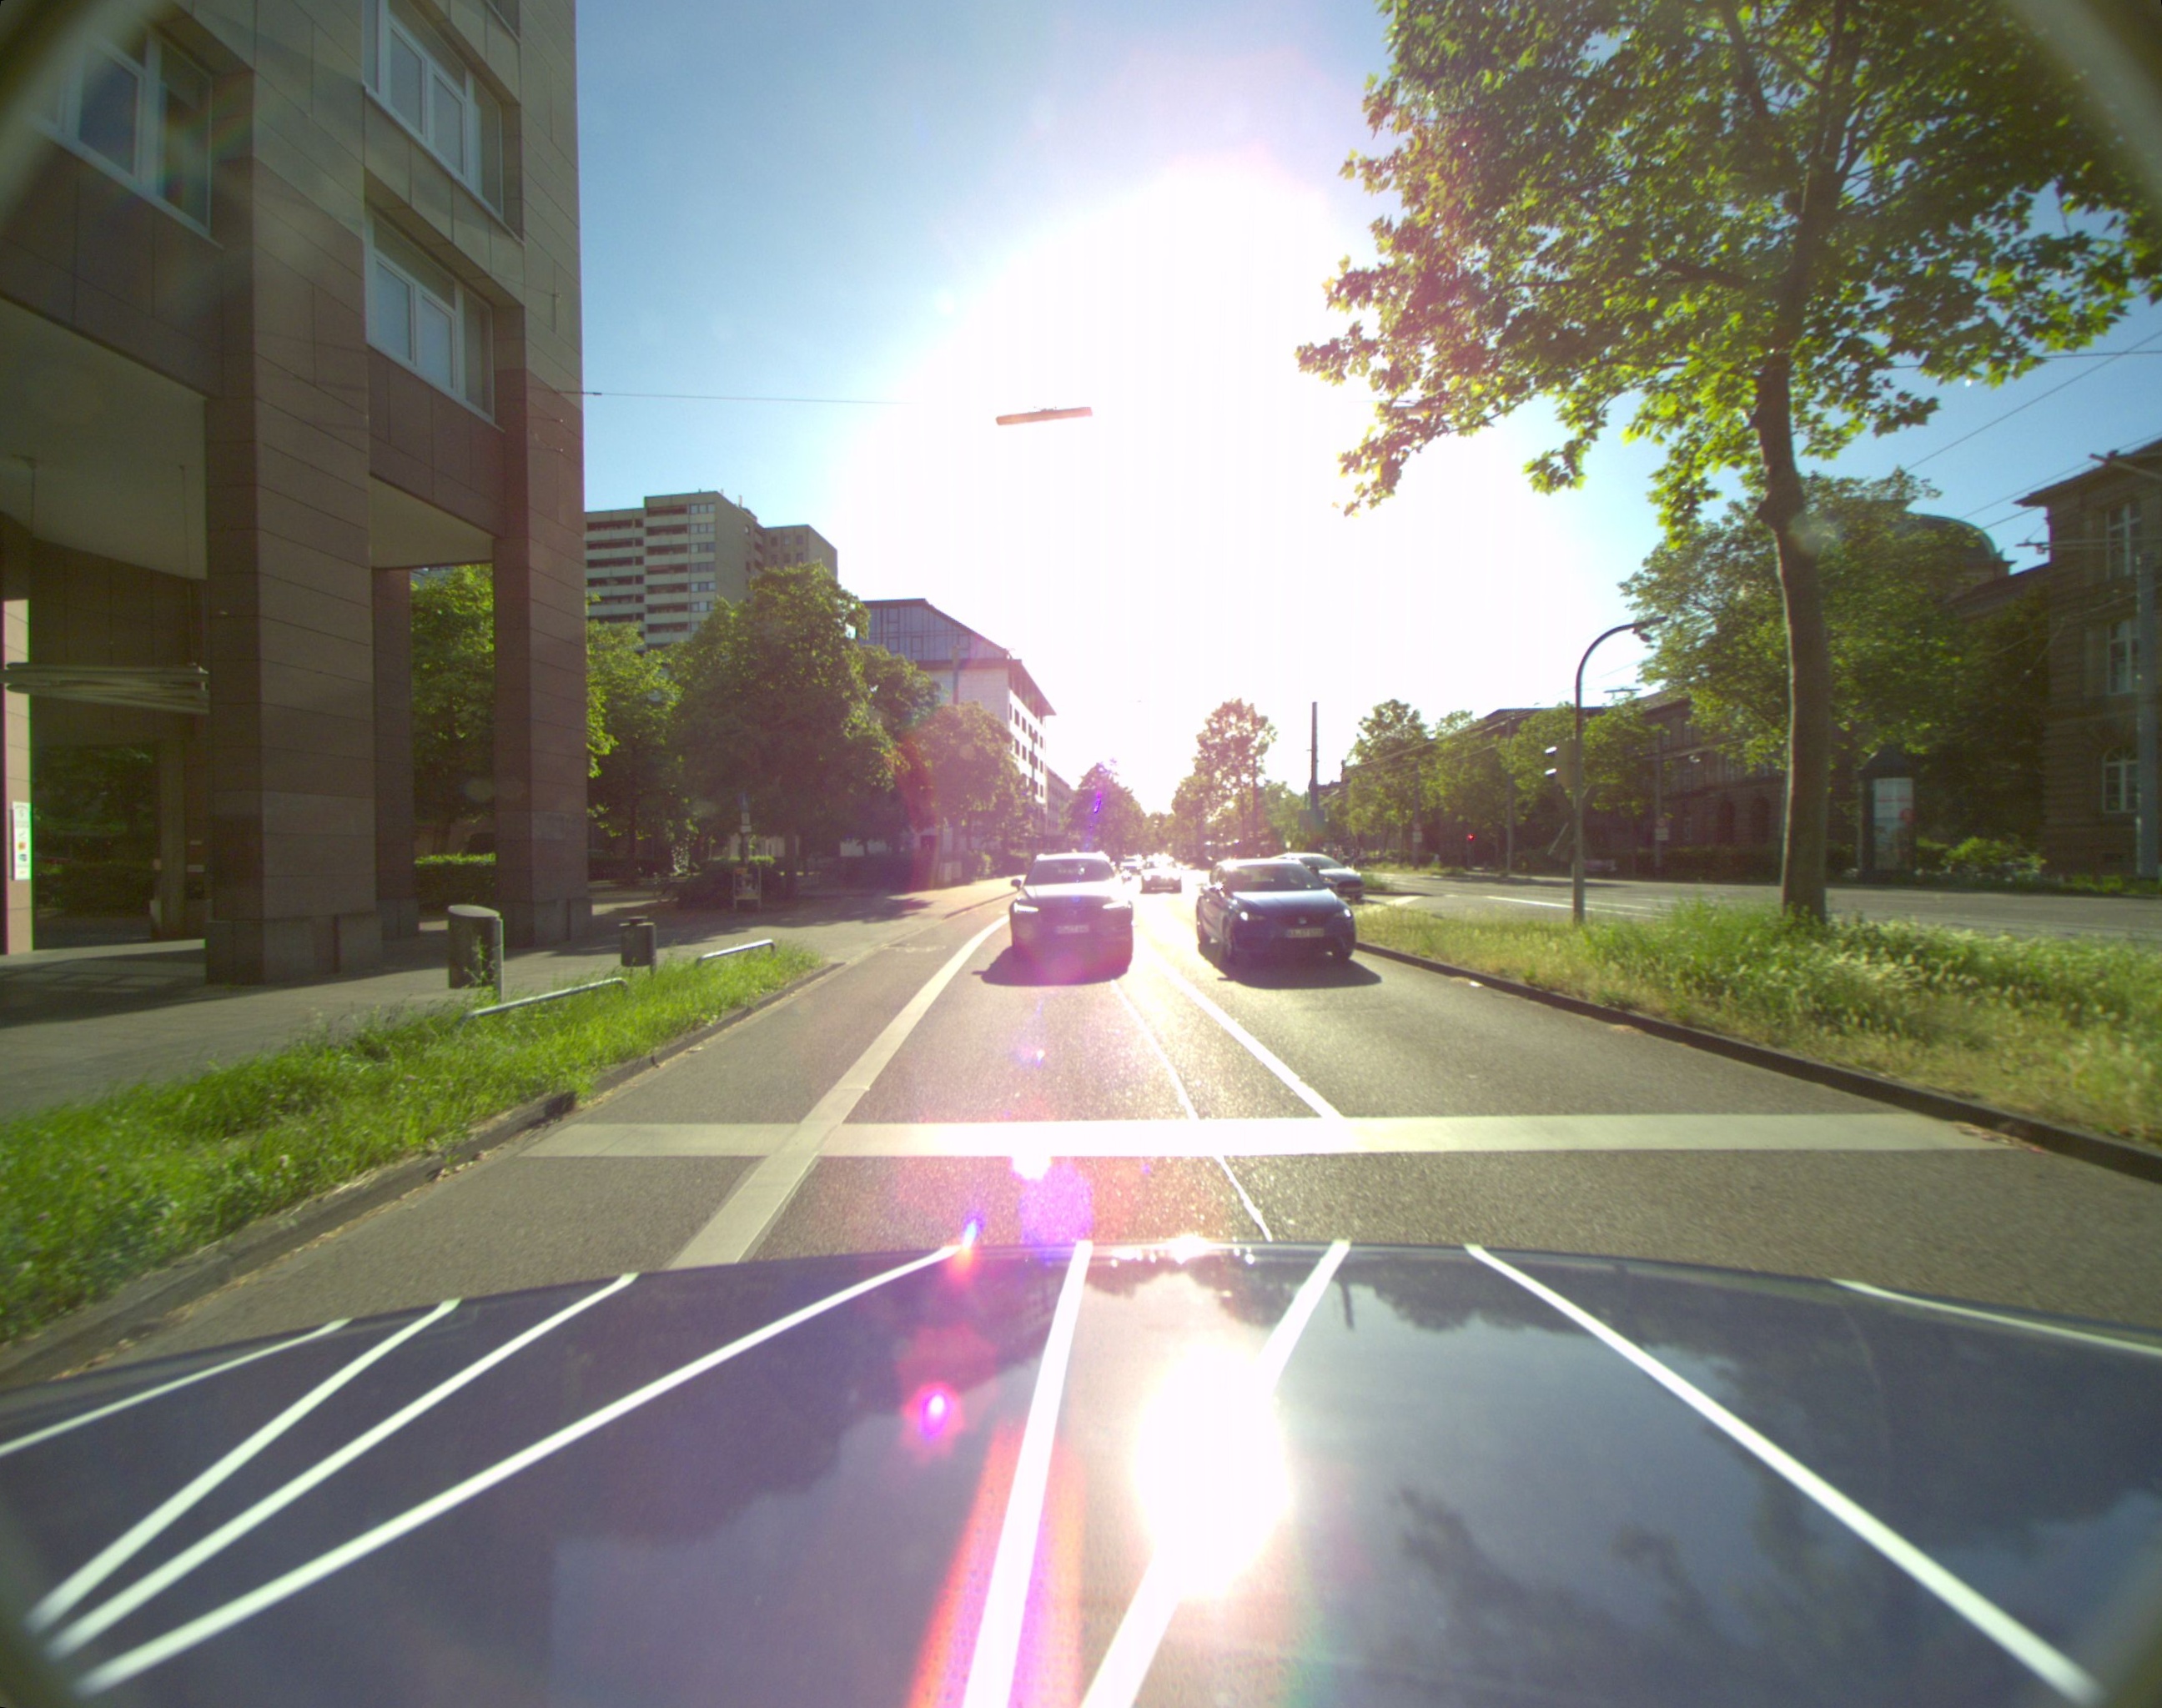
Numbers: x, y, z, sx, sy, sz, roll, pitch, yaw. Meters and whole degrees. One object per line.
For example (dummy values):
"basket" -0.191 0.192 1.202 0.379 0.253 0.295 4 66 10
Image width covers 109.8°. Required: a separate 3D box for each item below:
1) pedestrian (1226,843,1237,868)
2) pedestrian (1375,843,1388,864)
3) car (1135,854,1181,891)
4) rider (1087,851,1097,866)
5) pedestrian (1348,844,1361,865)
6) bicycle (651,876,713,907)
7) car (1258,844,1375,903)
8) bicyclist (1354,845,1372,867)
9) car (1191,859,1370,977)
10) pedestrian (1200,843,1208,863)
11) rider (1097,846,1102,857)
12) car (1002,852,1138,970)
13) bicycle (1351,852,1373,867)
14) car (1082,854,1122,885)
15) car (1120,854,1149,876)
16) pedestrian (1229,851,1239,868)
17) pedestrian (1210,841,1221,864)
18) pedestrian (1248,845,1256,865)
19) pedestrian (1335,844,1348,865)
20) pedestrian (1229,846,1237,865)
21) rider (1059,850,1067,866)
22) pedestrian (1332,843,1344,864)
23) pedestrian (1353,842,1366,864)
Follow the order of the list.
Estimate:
"pedestrian" 11.406 0.110 57.512 0.646 1.796 0.504 -3 1 -4
"pedestrian" 23.619 -0.055 59.686 0.595 1.612 0.698 -3 1 -27
"car" 3.338 0.750 32.941 1.798 1.420 4.001 -3 0 5
"rider" 1.203 0.472 84.400 0.924 1.668 0.978 -3 1 6
"pedestrian" 21.920 0.036 60.826 0.595 1.634 0.698 -3 1 -30
"bicycle" -12.485 1.164 23.811 1.679 0.857 0.320 -2 1 -23
"car" 7.190 0.560 23.643 1.668 1.586 3.858 -3 0 -14
"bicyclist" 21.699 0.132 58.426 0.970 1.634 0.834 -3 1 -27
"car" 2.881 0.846 11.843 1.778 1.439 3.869 -2 0 1
"pedestrian" 12.361 -0.088 76.338 0.710 2.002 0.787 -3 1 7
"rider" 3.074 -0.421 126.462 0.758 1.717 0.895 -3 1 4
"car" 0.031 0.838 13.722 1.948 1.690 5.307 -1 0 4
"bicycle" 21.615 0.418 58.491 1.665 1.036 0.543 -3 2 -26
"car" 1.108 0.744 38.339 1.603 1.387 4.002 -1 1 7
"car" 4.316 0.851 60.625 1.774 1.567 3.825 -3 0 11
"pedestrian" 11.453 0.399 56.964 0.594 1.226 0.425 -3 1 -4
"pedestrian" 13.107 -0.137 73.986 0.785 2.175 0.801 -2 1 26
"pedestrian" 14.041 0.088 62.417 0.544 1.652 0.730 -2 1 10
"pedestrian" 21.343 0.067 62.237 0.595 1.666 0.698 -3 1 -27
"pedestrian" 13.406 0.122 67.063 0.580 1.652 0.667 -2 1 14
"rider" -1.815 0.404 78.628 0.778 1.582 0.790 0 1 2
"pedestrian" 21.556 -0.057 63.715 0.595 1.735 0.698 -3 1 -27
"pedestrian" 22.645 -0.074 61.813 0.595 1.726 0.698 -3 1 -27
